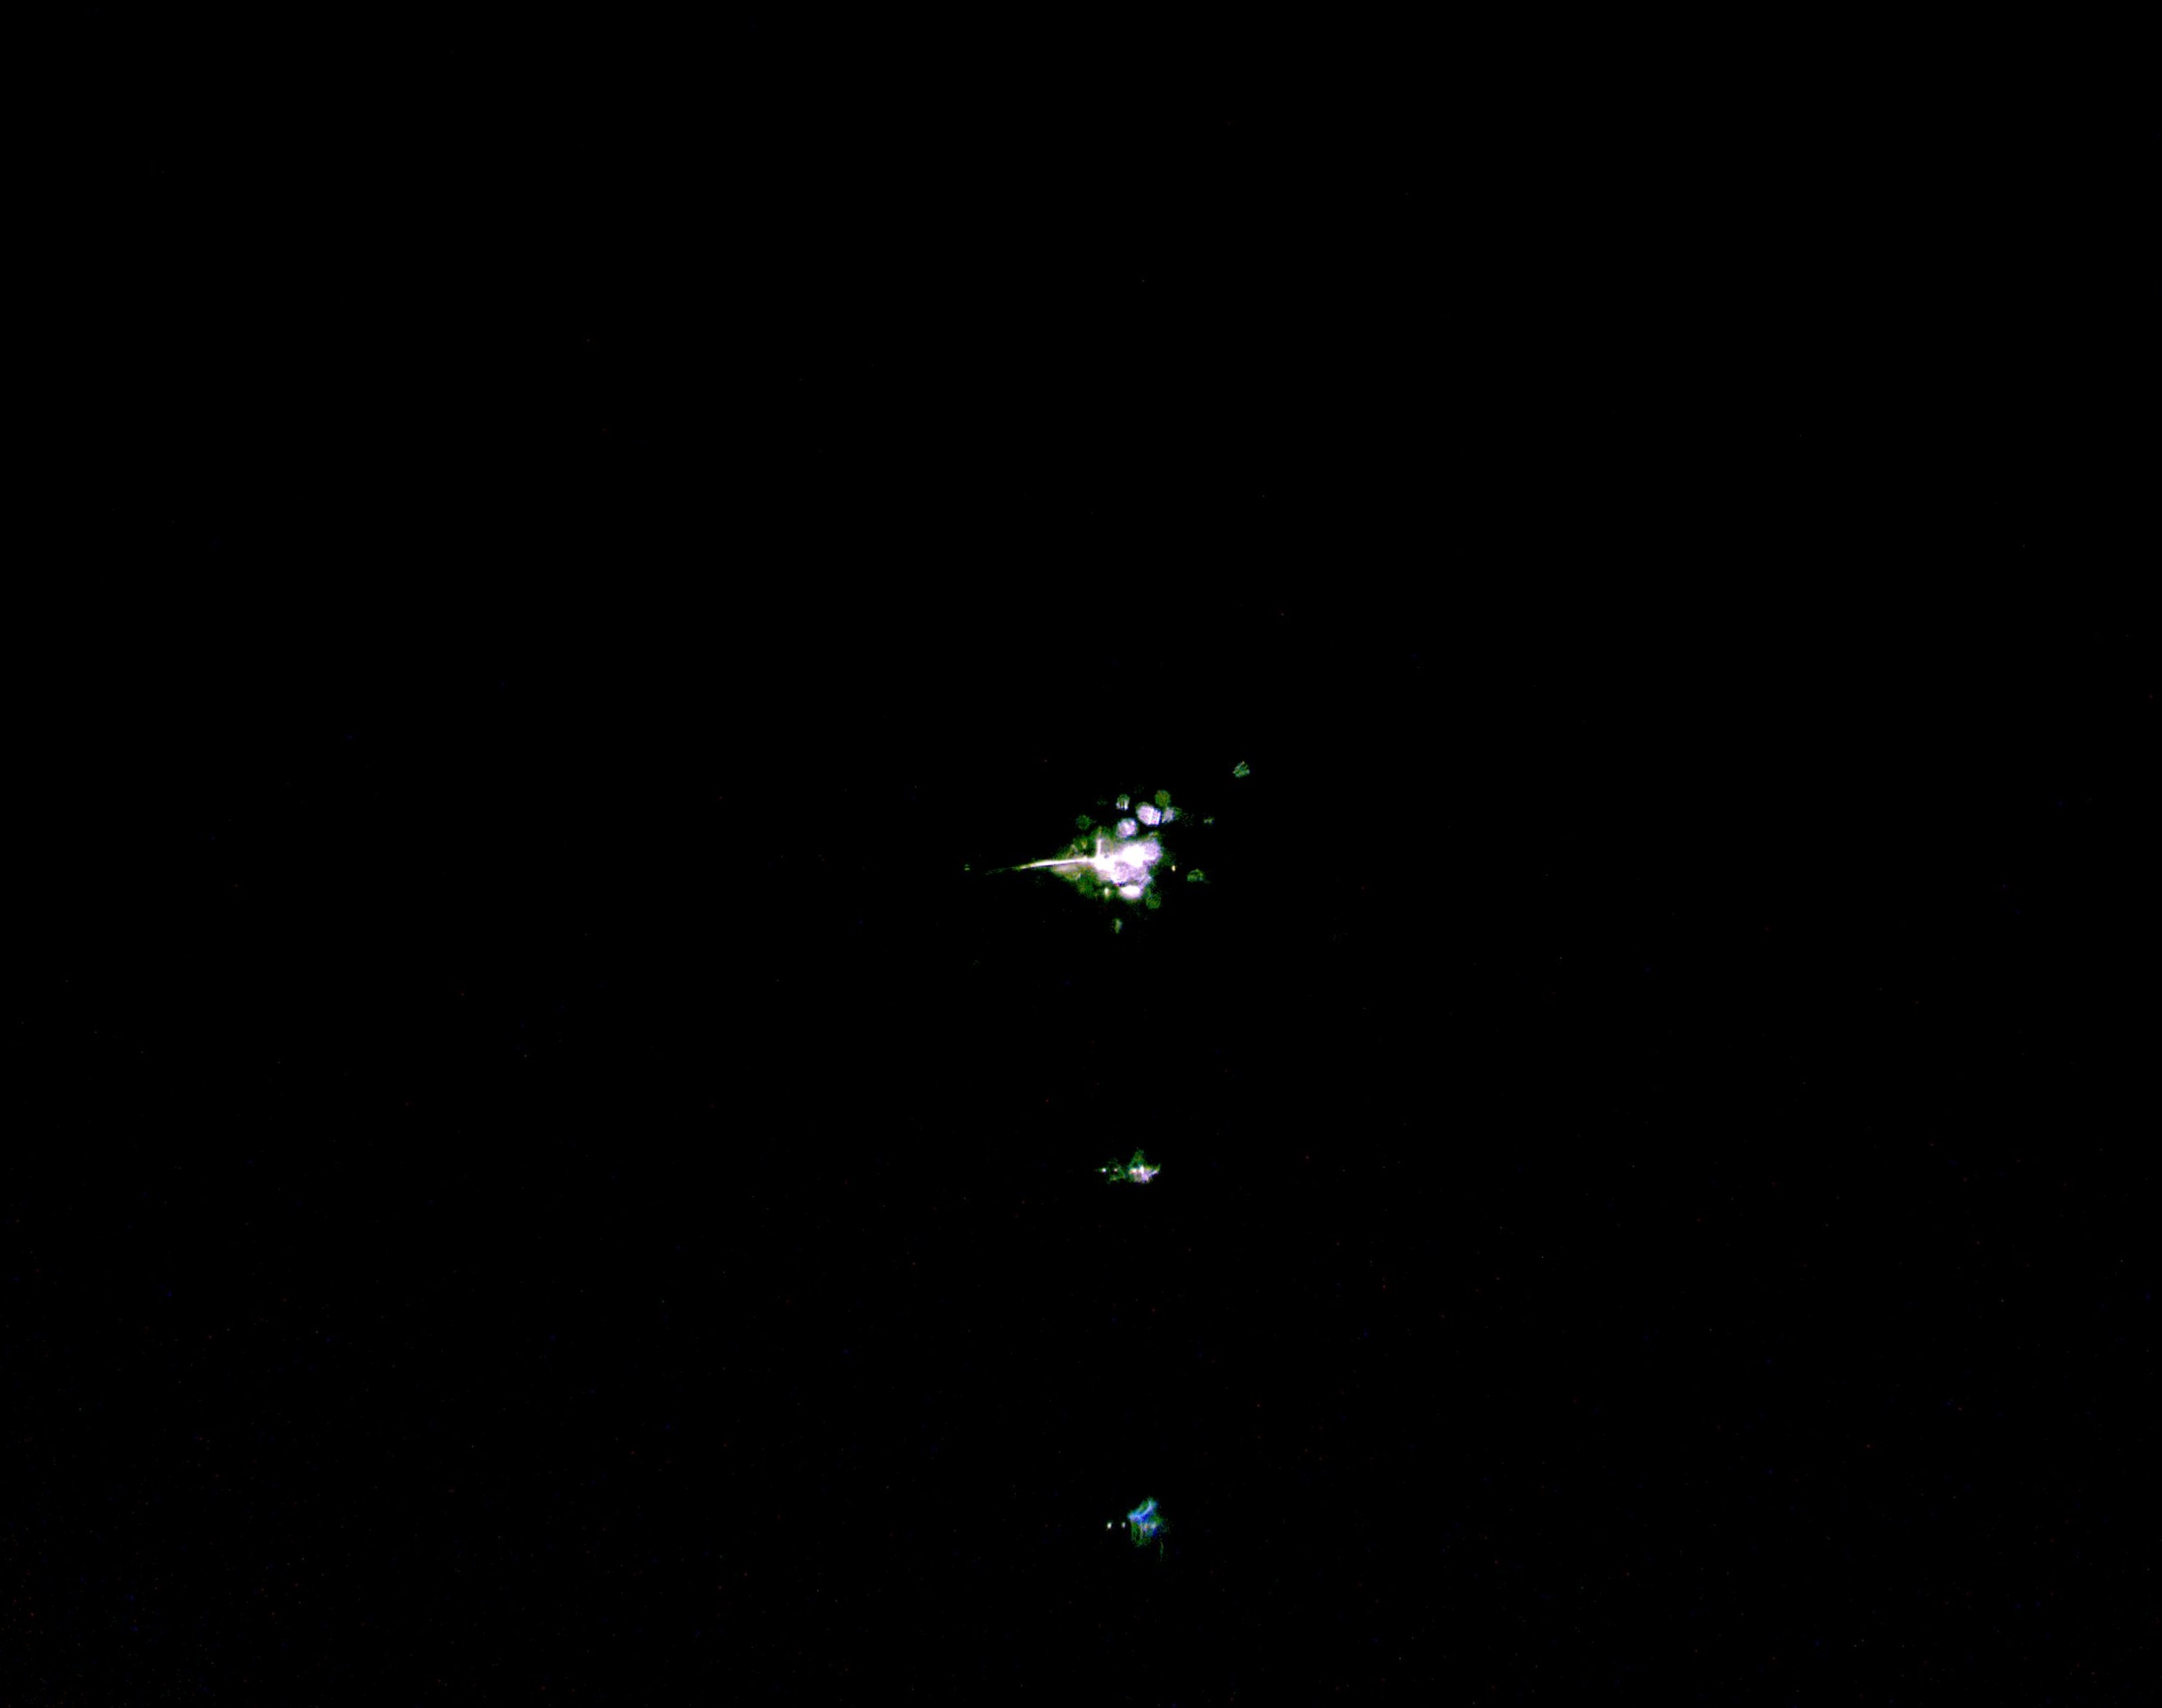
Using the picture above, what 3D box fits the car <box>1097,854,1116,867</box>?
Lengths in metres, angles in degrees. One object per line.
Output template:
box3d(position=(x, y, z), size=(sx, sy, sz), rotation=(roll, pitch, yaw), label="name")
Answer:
box3d(position=(2.991, 0.734, 95.169), size=(1.985, 1.391, 3.850), rotation=(-1, 0, 4), label="car")

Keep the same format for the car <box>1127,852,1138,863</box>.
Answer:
box3d(position=(9.638, 0.692, 151.275), size=(1.846, 1.940, 4.006), rotation=(-1, 0, 6), label="car")
